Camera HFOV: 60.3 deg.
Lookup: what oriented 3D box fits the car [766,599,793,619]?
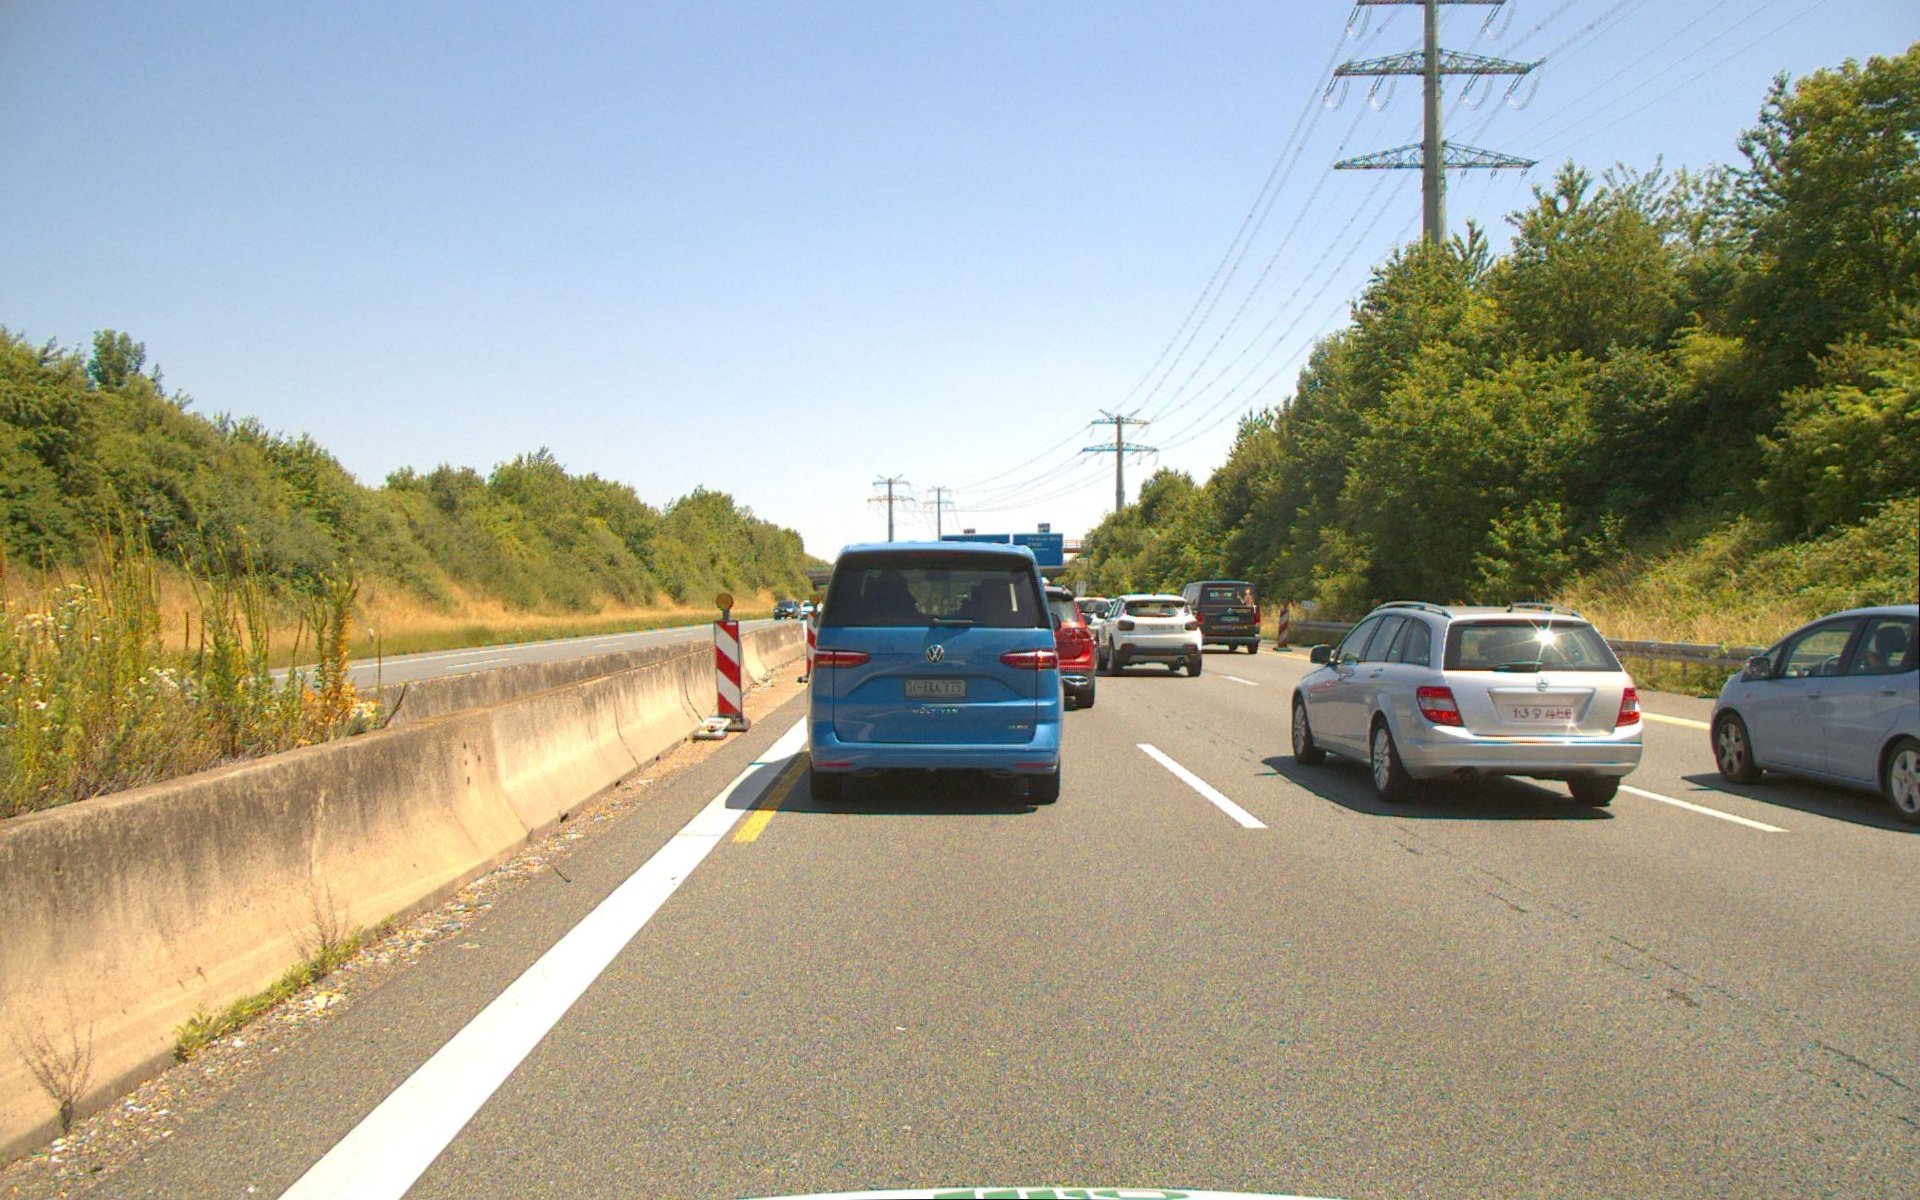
[{"bbox_3d":[-16.713,0.795,153.545,1.953,1.678,4.629,-3,0,-1],"label":"car"}]

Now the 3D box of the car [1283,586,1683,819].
[{"bbox_3d":[3.968,0.700,13.370,1.735,1.544,4.358,1,0,-2],"label":"car"}]

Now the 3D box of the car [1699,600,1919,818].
[{"bbox_3d":[7.298,0.752,12.510,1.666,1.473,3.787,1,0,-1],"label":"car"}]

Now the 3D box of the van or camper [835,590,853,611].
[{"bbox_3d":[-16.565,0.054,237.159,2.178,2.758,7.078,-3,0,-2],"label":"van or camper"}]

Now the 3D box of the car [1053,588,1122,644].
[{"bbox_3d":[3.940,0.484,51.583,1.761,1.622,4.226,1,0,-1],"label":"car"}]

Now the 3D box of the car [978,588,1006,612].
[{"bbox_3d":[2.232,0.012,115.514,1.761,1.622,4.226,1,0,-1],"label":"car"}]

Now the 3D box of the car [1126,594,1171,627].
[{"bbox_3d":[9.729,0.539,85.592,1.761,1.622,4.226,1,0,-1],"label":"car"}]

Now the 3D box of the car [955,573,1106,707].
[{"bbox_3d":[0.910,0.526,23.734,1.837,1.700,4.358,1,0,-2],"label":"car"}]

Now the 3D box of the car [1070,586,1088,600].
[{"bbox_3d":[15.036,-0.899,208.619,1.837,1.700,4.358,1,0,-2],"label":"car"}]

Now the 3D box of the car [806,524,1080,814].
[{"bbox_3d":[-0.173,0.475,13.460,1.837,1.945,4.358,1,0,-2],"label":"car"}]

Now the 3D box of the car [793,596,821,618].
[{"bbox_3d":[-12.785,0.572,138.506,1.953,1.691,4.229,-1,0,-1],"label":"car"}]

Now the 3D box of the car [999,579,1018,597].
[{"bbox_3d":[6.595,-1.618,225.869,2.329,2.470,4.226,1,0,-1],"label":"car"}]

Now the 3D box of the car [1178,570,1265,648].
[{"bbox_3d":[7.284,0.252,46.453,1.761,2.049,4.226,1,0,0],"label":"car"}]

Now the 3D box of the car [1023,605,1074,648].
[{"bbox_3d":[3.514,1.044,66.221,1.761,1.622,4.226,1,0,-1],"label":"car"}]

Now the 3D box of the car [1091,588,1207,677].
[{"bbox_3d":[3.694,0.611,33.004,1.761,1.622,4.226,1,0,-1],"label":"car"}]
